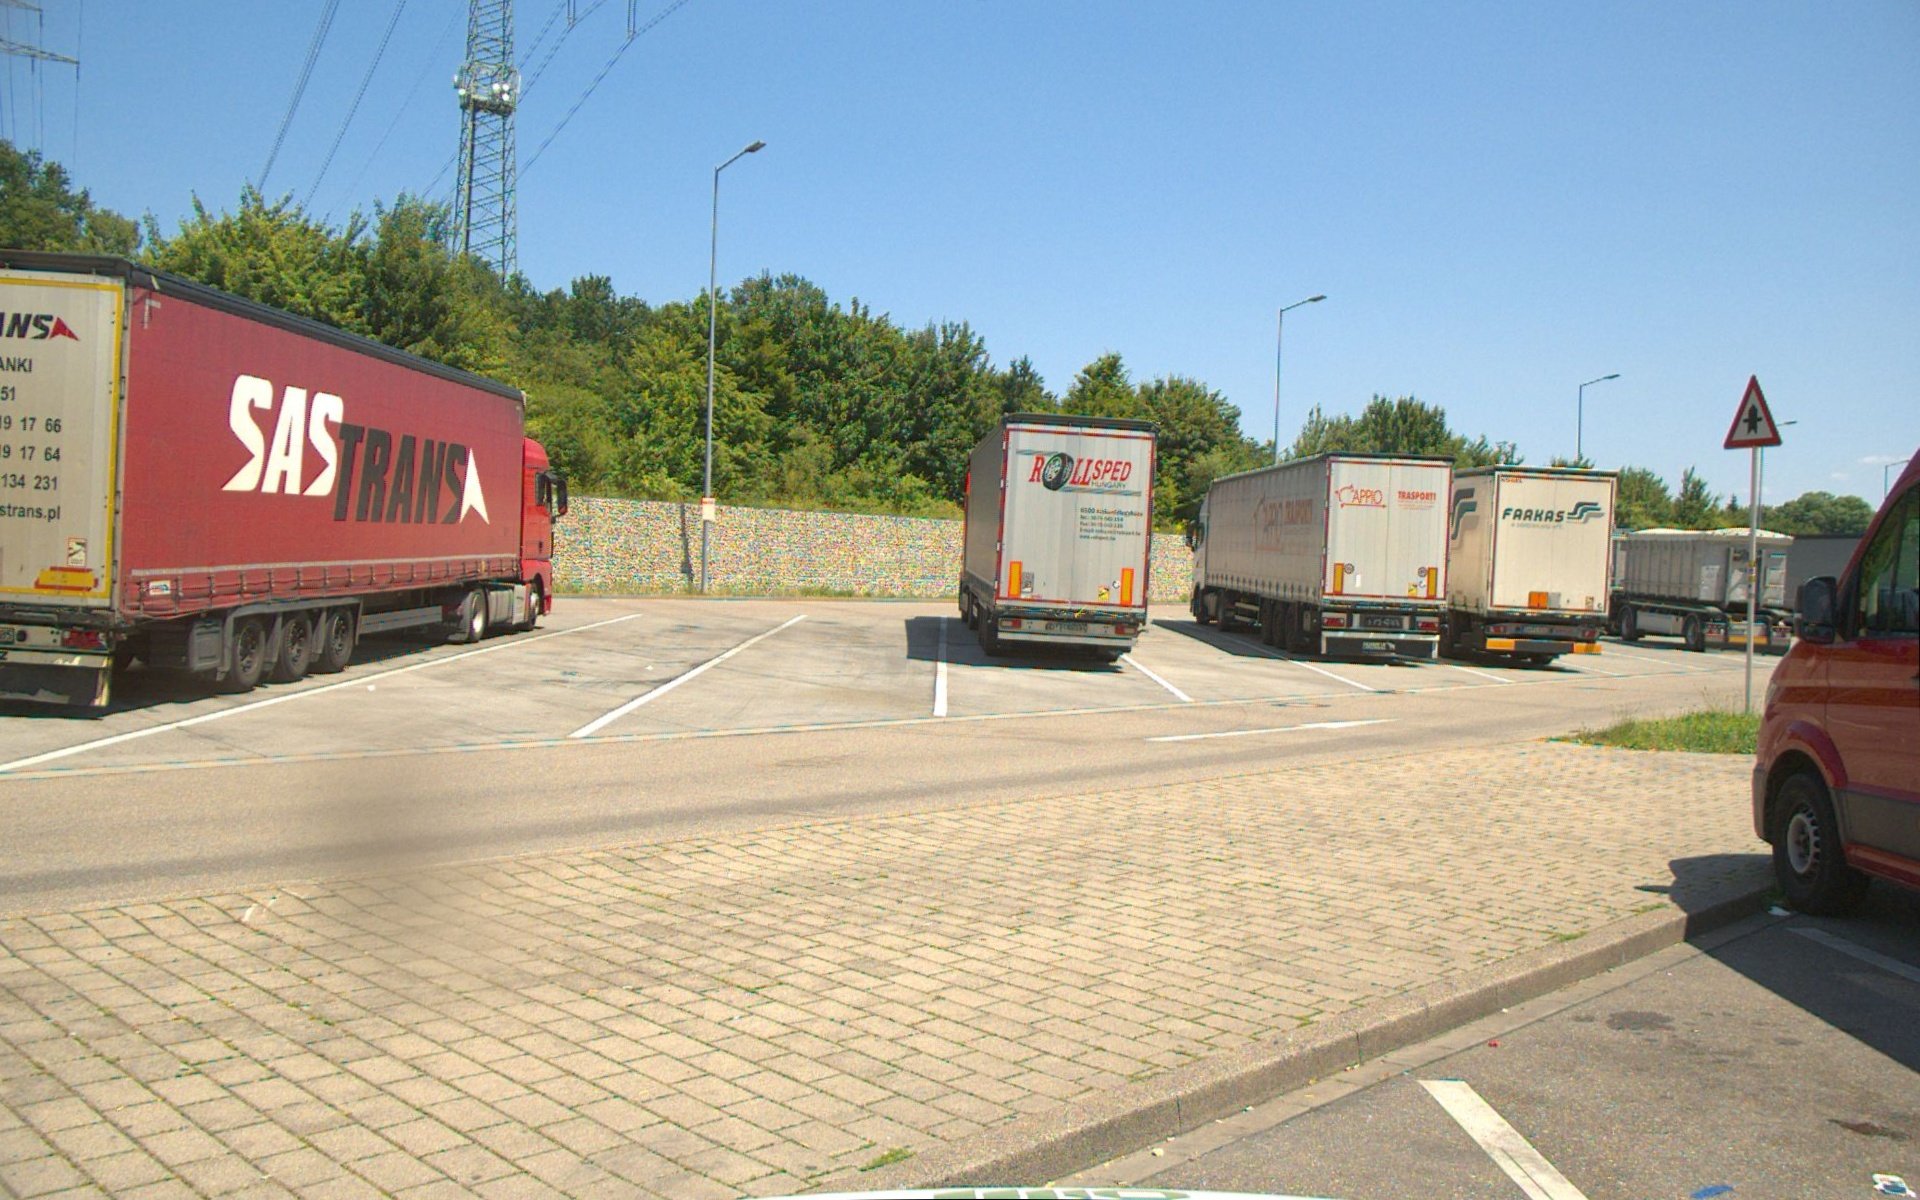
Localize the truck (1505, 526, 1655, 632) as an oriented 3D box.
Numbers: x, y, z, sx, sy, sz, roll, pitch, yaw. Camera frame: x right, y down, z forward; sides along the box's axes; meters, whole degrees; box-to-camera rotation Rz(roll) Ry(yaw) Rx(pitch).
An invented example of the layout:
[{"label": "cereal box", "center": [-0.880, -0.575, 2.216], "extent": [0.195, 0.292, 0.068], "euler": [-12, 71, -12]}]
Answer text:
[{"label": "truck", "center": [21.732, -0.799, 58.352], "extent": [2.808, 3.421, 5.974], "euler": [2, 2, -1]}]

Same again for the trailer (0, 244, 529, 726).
[{"label": "trailer", "center": [-8.698, -1.279, 21.265], "extent": [2.764, 4.141, 13.763], "euler": [2, 2, -1]}]

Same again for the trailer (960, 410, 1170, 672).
[{"label": "trailer", "center": [1.669, -1.182, 33.162], "extent": [2.800, 4.040, 13.761], "euler": [2, 2, -2]}]

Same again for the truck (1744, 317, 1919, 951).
[{"label": "truck", "center": [4.984, 0.156, 5.530], "extent": [1.969, 2.697, 6.457], "euler": [1, 0, 3]}]

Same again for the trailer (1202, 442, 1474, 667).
[{"label": "trailer", "center": [8.243, -1.107, 38.514], "extent": [2.800, 4.180, 13.762], "euler": [2, 2, -1]}]

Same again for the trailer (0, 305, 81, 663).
[{"label": "trailer", "center": [-12.495, -1.268, 15.808], "extent": [2.651, 4.173, 10.389], "euler": [2, 2, -1]}]

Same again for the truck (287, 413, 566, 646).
[{"label": "truck", "center": [-8.807, -1.172, 28.080], "extent": [2.755, 3.421, 5.974], "euler": [2, 2, -1]}]

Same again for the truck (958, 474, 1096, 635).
[{"label": "truck", "center": [1.468, -1.100, 39.359], "extent": [2.808, 3.421, 5.974], "euler": [2, 2, -1]}]

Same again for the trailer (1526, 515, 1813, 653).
[{"label": "trailer", "center": [21.830, -0.684, 52.257], "extent": [2.800, 3.662, 13.762], "euler": [2, 2, -1]}]

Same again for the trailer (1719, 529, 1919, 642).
[{"label": "trailer", "center": [34.783, -0.709, 65.455], "extent": [2.800, 3.972, 13.762], "euler": [2, 2, -1]}]

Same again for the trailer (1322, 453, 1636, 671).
[{"label": "trailer", "center": [11.763, -0.995, 39.578], "extent": [2.800, 4.180, 13.762], "euler": [2, 2, -1]}]

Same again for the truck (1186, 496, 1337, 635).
[{"label": "truck", "center": [8.121, -0.991, 45.277], "extent": [2.808, 3.421, 5.974], "euler": [2, 2, -1]}]
